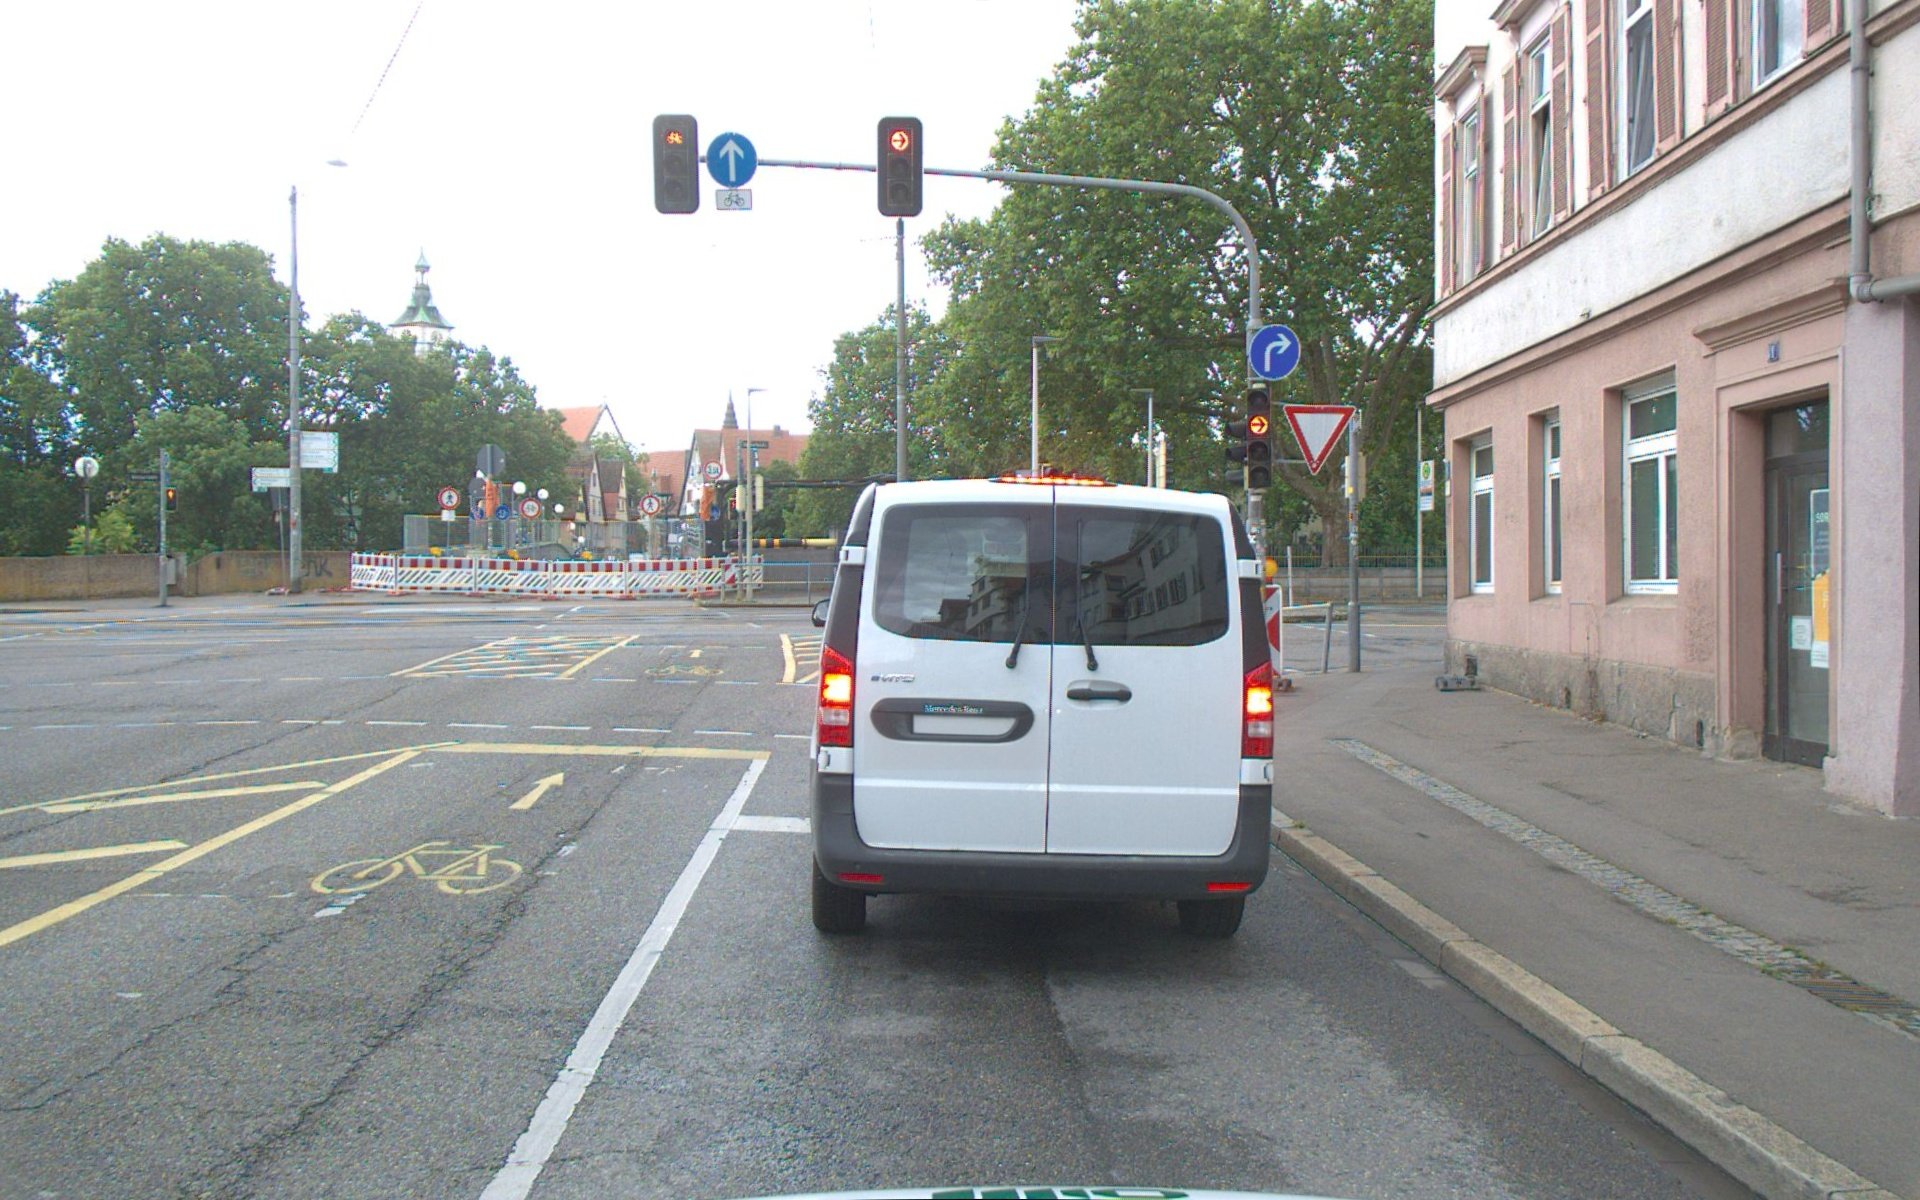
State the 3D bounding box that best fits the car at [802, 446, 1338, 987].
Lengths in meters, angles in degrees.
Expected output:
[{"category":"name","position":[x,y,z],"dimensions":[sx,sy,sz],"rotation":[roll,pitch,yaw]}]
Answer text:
[{"category":"car","position":[0.250,0.352,8.165],"dimensions":[1.954,1.956,4.246],"rotation":[1,2,-5]}]
